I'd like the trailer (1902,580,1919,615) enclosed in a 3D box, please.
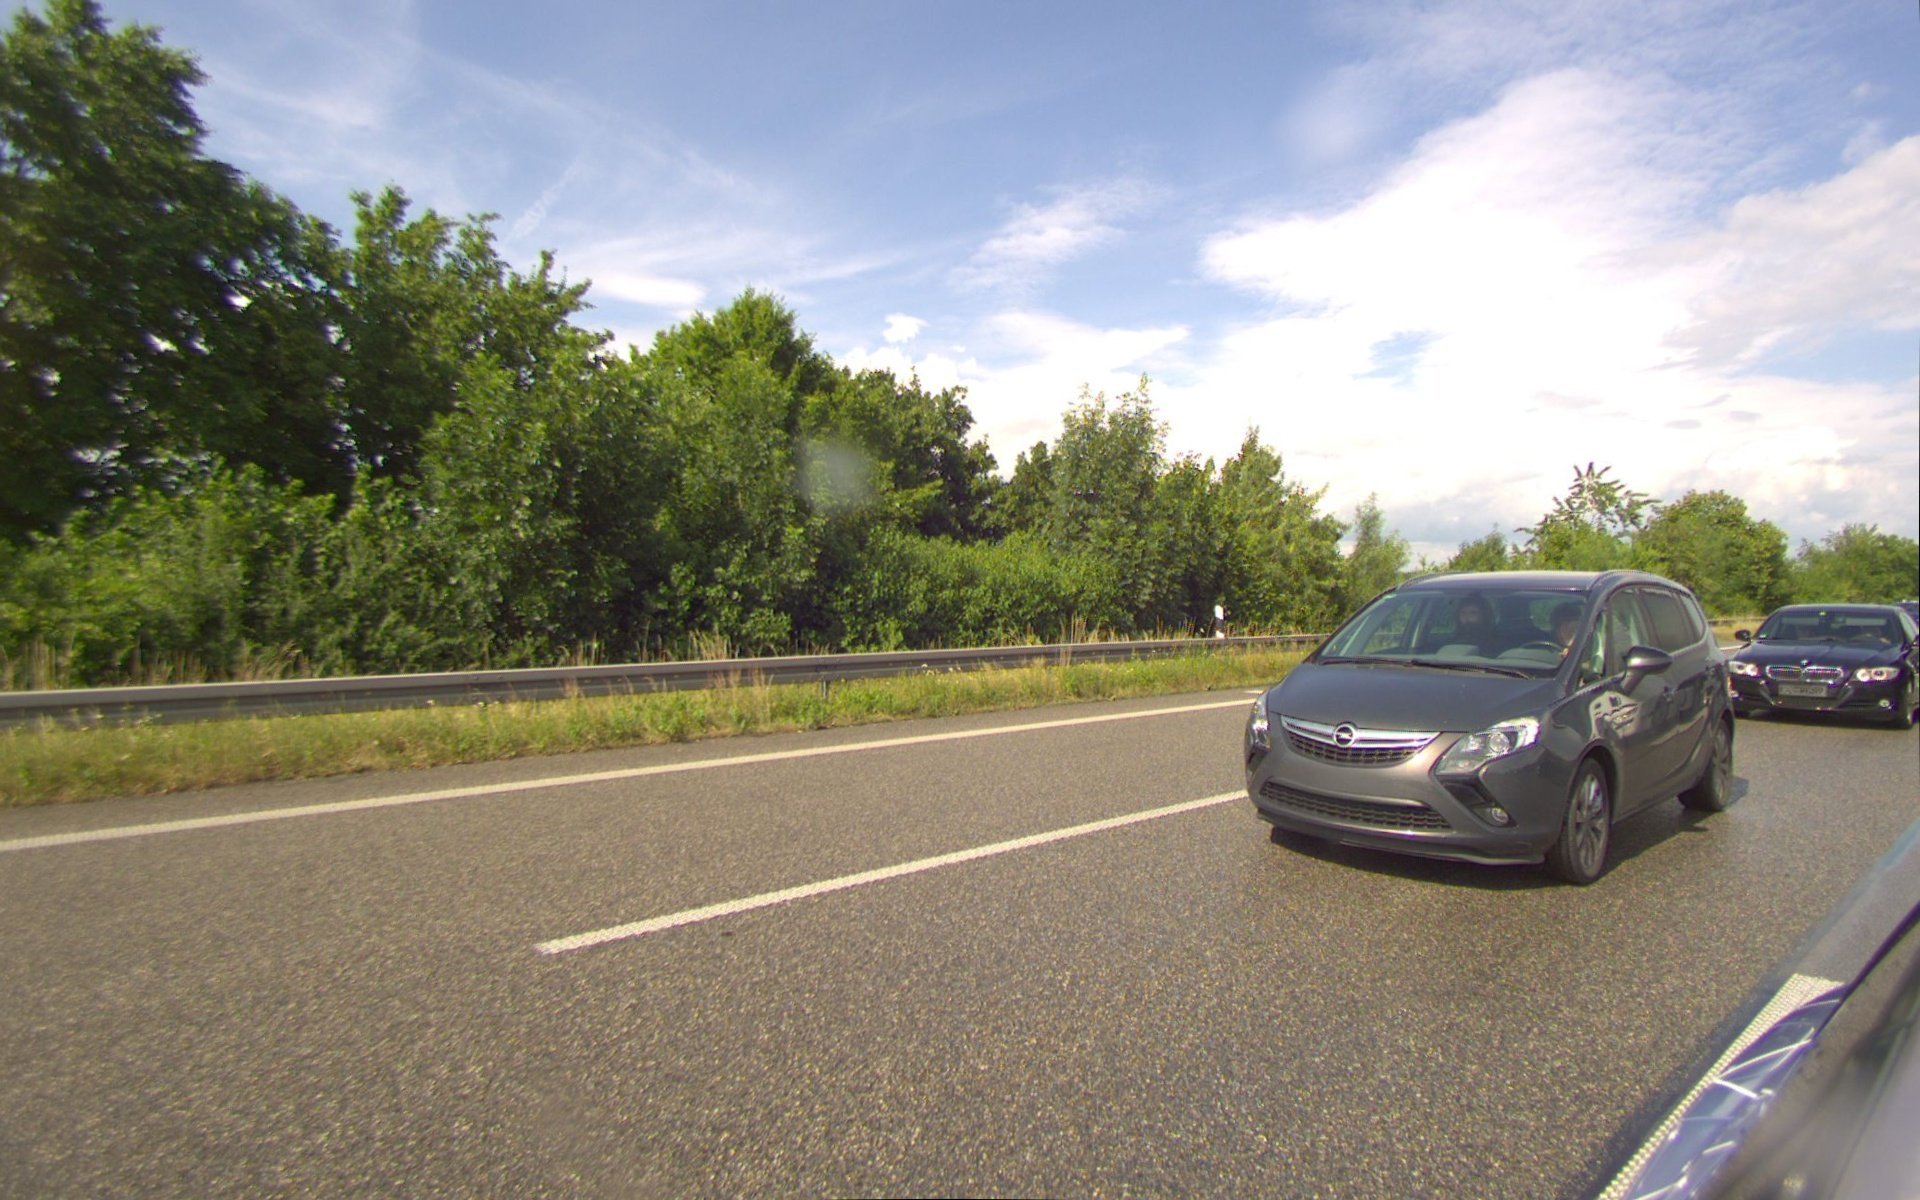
[{"bbox_3d":[50.008,-0.153,52.082,3.898,1.768,1.808,0,0,-41],"label":"trailer"}]

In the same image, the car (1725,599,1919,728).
[{"bbox_3d":[11.250,0.687,12.824,3.816,1.371,1.721,0,0,-41],"label":"car"}]

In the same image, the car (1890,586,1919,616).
[{"bbox_3d":[46.893,0.032,49.367,4.327,1.449,1.746,0,1,-41],"label":"car"}]

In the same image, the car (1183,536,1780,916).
[{"bbox_3d":[3.651,0.531,6.625,4.652,1.652,1.857,0,0,-40],"label":"car"}]
